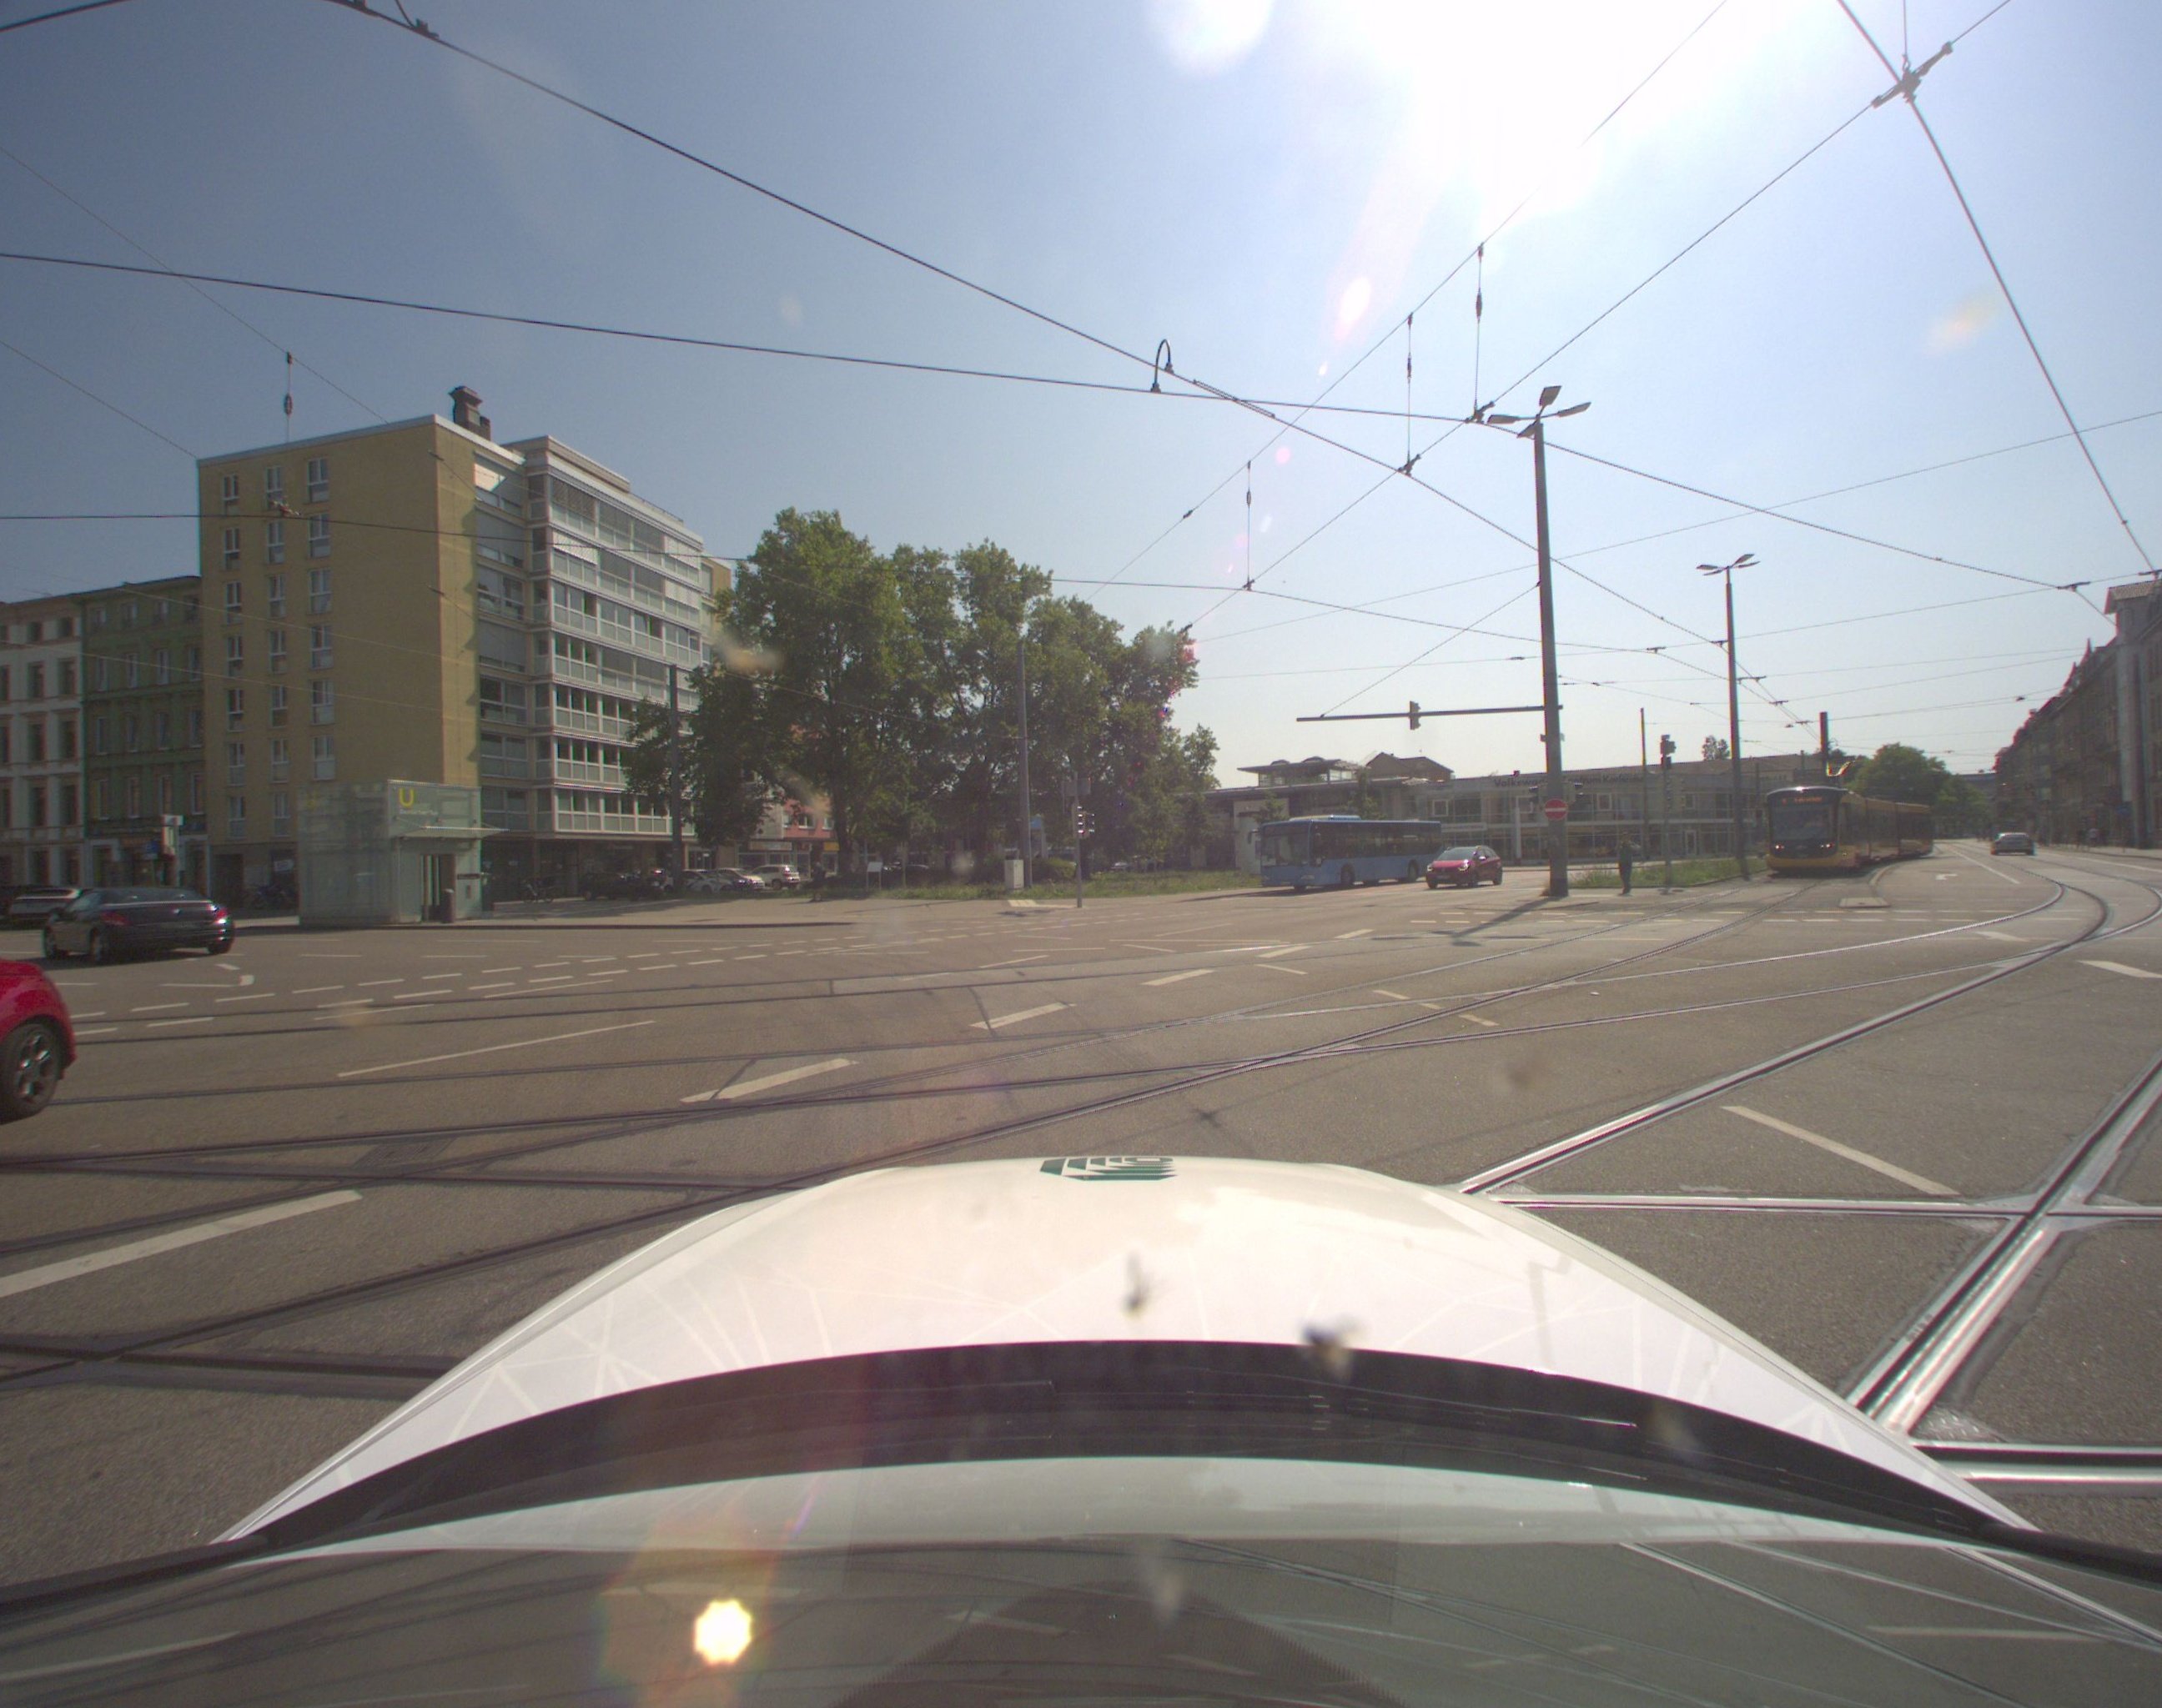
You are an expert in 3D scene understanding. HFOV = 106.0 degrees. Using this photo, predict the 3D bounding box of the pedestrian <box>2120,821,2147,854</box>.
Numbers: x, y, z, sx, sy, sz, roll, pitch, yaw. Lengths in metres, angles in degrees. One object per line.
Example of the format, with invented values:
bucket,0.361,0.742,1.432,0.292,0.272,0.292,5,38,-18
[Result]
pedestrian,64.064,-1.004,49.573,0.831,2.013,0.815,0,0,39

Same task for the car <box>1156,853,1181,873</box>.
car,9.327,0.899,86.267,2.312,2.013,6.826,0,0,9

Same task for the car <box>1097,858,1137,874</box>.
car,3.806,1.273,85.116,1.975,1.508,4.024,-2,0,45

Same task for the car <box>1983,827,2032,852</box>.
car,61.070,-0.939,53.722,1.716,1.574,3.634,0,0,42

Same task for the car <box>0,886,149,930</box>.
car,-36.875,1.949,29.929,1.808,1.500,3.759,0,-3,-20

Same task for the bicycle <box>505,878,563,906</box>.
bicycle,-25.548,1.770,38.048,2.409,1.238,0.798,-2,-1,14

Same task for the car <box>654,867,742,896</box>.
car,-21.918,1.555,46.682,4.204,1.470,1.912,-2,0,12

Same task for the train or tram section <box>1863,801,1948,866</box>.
train or tram section,50.442,-1.130,49.677,12.278,3.560,2.565,0,0,-39

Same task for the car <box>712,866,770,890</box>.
car,-21.533,1.504,51.560,3.067,1.429,1.408,-2,-1,12

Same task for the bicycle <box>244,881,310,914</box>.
bicycle,-37.411,1.991,37.976,0.904,1.404,3.340,-2,0,-21

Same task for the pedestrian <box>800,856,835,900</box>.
pedestrian,-10.001,0.899,30.914,0.940,1.609,0.796,-3,0,12

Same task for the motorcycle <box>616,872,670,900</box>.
motorcycle,-18.418,1.343,34.240,2.086,1.137,0.918,-2,-1,27

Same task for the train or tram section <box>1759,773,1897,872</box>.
train or tram section,31.494,-1.132,34.050,12.278,3.560,2.565,0,0,-39

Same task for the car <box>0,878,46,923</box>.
car,-43.813,1.888,32.005,2.048,1.713,4.625,-2,0,-26

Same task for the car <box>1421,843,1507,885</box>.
car,14.559,0.363,30.879,3.793,1.472,1.610,-1,0,-43

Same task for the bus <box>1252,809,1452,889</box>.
bus,12.419,-0.282,36.245,12.147,3.064,2.701,-1,-1,-42

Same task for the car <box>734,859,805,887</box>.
car,-20.604,1.252,53.940,4.033,1.666,1.797,-2,-1,12

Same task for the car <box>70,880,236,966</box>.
car,-18.573,1.279,16.263,3.948,1.431,1.807,-1,0,36

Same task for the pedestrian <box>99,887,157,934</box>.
pedestrian,-35.348,2.075,30.225,0.902,1.704,1.034,-1,-2,-11

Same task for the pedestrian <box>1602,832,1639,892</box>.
pedestrian,15.511,0.215,23.433,0.794,1.687,0.724,-2,0,29

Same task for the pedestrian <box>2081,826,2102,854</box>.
pedestrian,72.641,-1.005,58.540,0.783,2.013,0.815,0,0,39

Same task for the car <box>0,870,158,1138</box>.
car,-7.125,0.918,3.970,1.769,1.618,4.053,-2,-1,-21

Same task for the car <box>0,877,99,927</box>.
car,-40.095,1.791,30.877,1.991,1.687,4.354,-2,0,-26

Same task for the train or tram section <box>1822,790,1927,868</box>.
train or tram section,41.214,-1.131,42.099,12.278,3.560,2.565,0,0,-39

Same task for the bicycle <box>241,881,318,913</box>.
bicycle,-38.658,2.070,39.268,3.330,1.404,0.907,-2,0,12

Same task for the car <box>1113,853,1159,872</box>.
car,5.525,0.876,81.233,4.268,1.753,1.702,-2,0,-26

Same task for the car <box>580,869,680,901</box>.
car,-23.091,1.573,41.720,4.204,1.470,1.912,-2,0,12
